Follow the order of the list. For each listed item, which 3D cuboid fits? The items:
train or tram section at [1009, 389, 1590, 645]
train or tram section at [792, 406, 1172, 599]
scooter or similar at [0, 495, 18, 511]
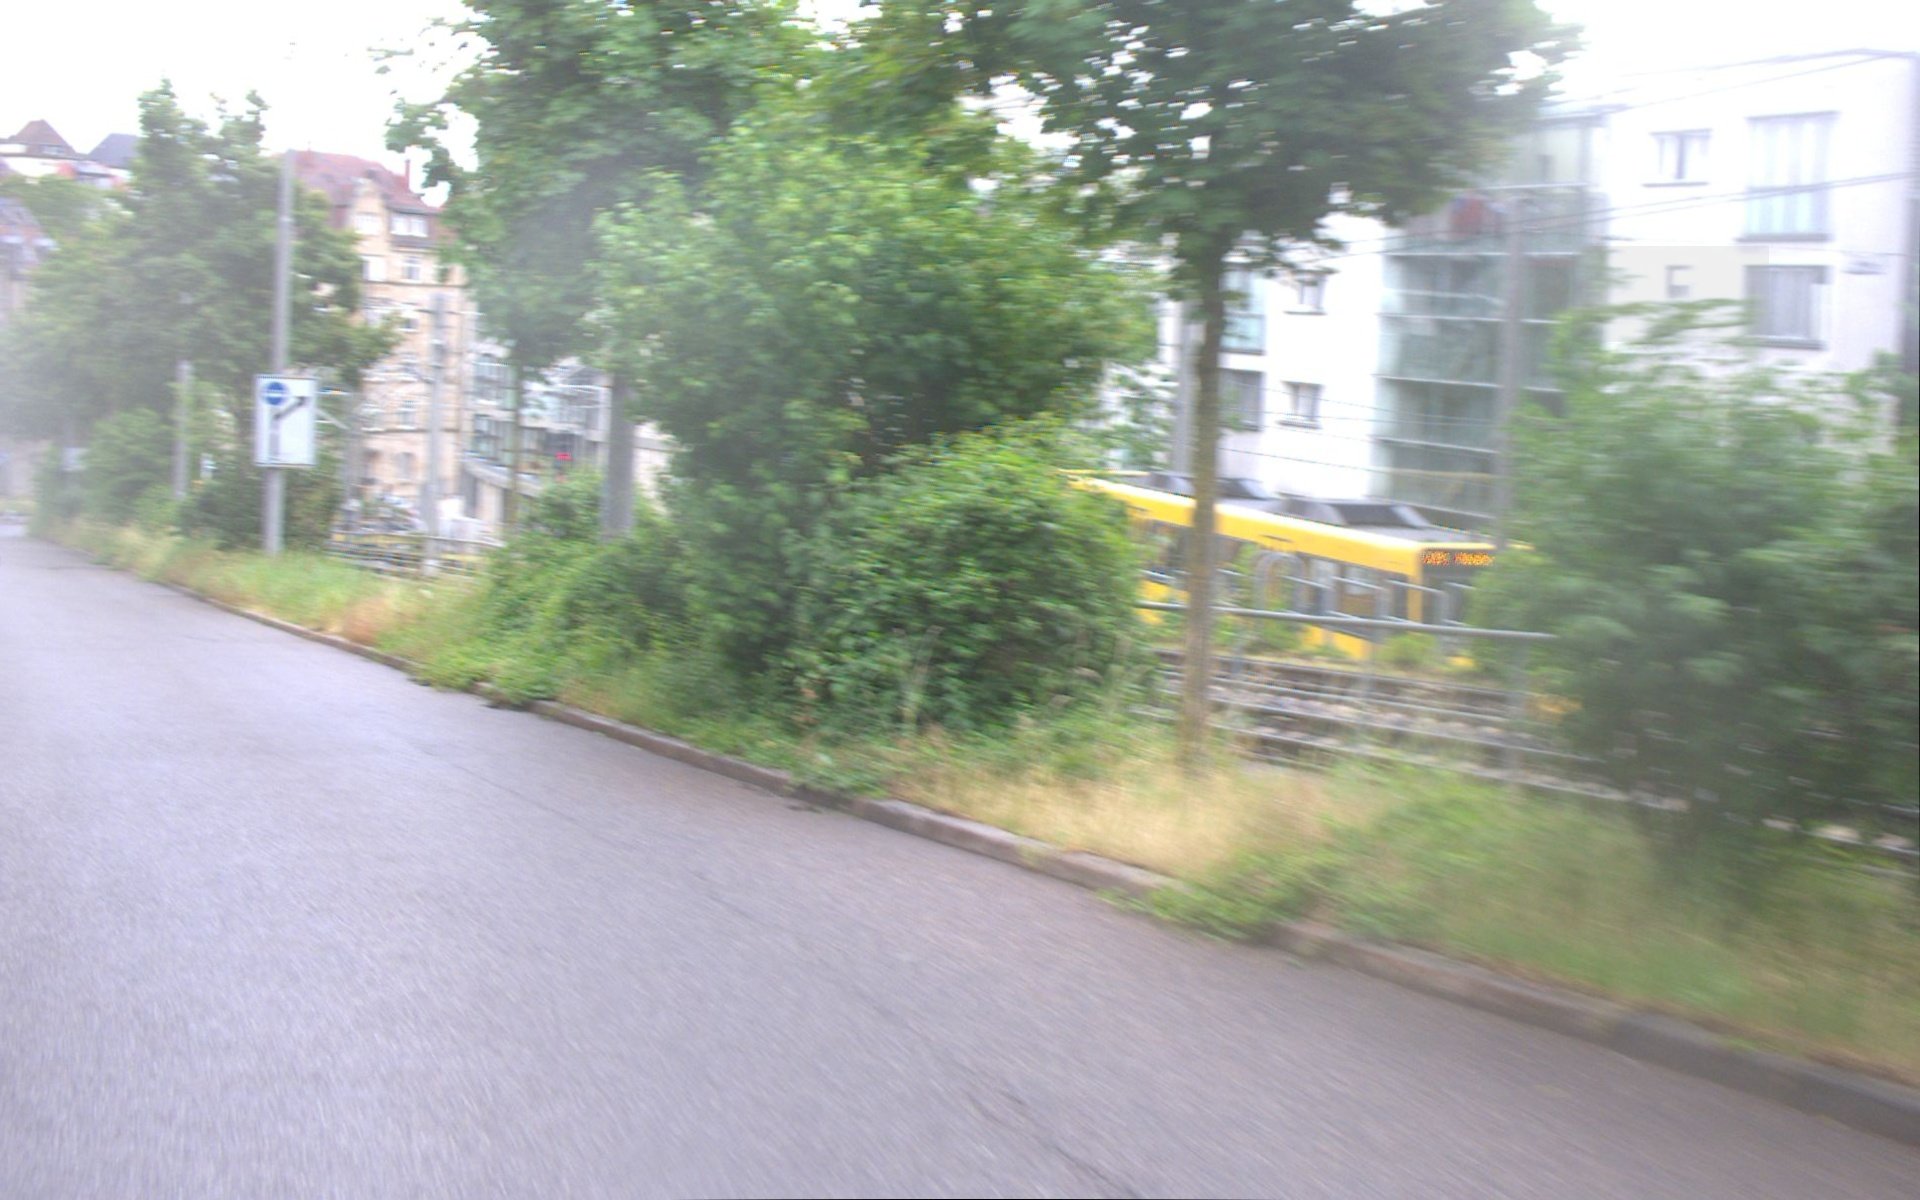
[{"bbox_3d":[5.521,-1.669,63.480,3.329,3.933,19.289,2,2,-17],"label":"train or tram section"},{"bbox_3d":[0.042,-2.400,81.221,3.329,3.933,18.820,2,2,-17],"label":"train or tram section"},{"bbox_3d":[-47.556,-4.850,171.558,0.485,0.759,1.329,2,2,11],"label":"scooter or similar"}]
